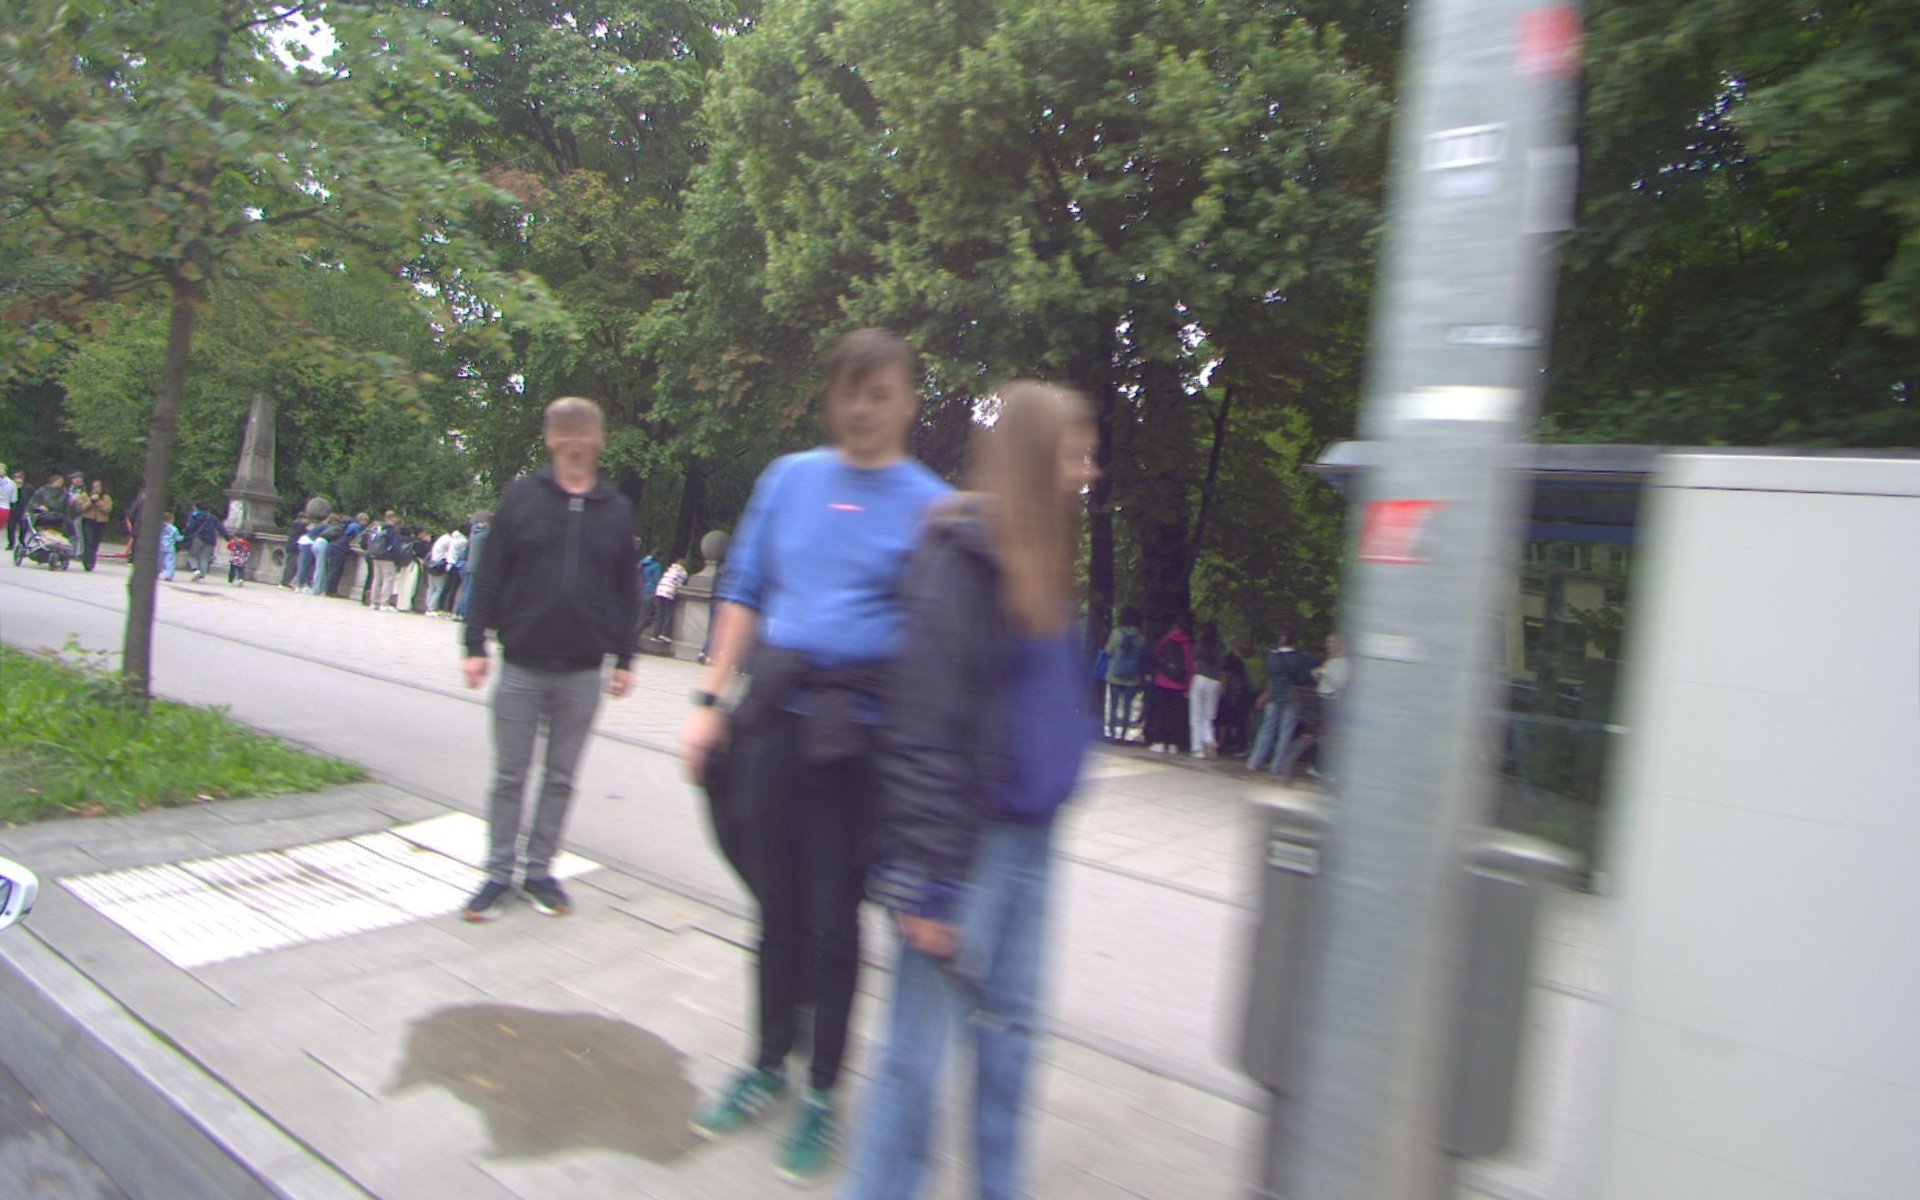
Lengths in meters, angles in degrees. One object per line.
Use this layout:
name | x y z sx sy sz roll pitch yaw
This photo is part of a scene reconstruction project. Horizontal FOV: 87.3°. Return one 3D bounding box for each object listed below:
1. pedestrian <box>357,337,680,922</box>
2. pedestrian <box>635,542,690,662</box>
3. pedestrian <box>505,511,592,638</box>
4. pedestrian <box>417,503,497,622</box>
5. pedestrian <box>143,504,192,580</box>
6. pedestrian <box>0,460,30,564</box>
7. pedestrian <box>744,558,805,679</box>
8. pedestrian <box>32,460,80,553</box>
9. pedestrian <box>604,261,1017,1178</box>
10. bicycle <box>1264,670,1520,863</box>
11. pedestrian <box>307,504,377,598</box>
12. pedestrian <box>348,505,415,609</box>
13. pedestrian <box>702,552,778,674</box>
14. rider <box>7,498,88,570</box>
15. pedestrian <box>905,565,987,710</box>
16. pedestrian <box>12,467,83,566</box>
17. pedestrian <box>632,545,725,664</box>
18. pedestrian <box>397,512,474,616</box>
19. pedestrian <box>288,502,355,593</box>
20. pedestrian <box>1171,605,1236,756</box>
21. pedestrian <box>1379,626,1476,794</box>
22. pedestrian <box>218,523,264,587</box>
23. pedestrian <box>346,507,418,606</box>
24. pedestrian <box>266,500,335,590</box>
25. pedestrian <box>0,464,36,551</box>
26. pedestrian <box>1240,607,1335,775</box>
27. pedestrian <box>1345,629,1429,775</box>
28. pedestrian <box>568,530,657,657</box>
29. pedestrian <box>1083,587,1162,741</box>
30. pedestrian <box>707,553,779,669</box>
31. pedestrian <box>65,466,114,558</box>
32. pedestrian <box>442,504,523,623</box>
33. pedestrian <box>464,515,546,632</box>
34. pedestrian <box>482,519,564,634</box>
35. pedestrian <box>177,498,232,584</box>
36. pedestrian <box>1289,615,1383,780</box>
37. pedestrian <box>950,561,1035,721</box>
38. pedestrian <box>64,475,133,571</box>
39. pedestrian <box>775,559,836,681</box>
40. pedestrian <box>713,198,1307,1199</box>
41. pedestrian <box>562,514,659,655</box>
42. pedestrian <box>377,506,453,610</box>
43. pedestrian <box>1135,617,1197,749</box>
pedestrian | -1.573 0.138 3.665 0.795 1.903 0.541 7 0 -22
pedestrian | -4.454 0.038 15.059 0.435 1.724 0.421 7 0 32
pedestrian | -6.466 -0.394 15.835 0.717 1.874 0.813 7 0 34
pedestrian | -8.791 -0.655 17.603 0.717 1.939 0.813 7 0 34
pedestrian | -14.946 -1.091 18.965 0.638 1.342 0.458 7 0 37
pedestrian | -16.498 -1.526 17.120 0.638 1.711 0.726 7 0 37
pedestrian | -2.445 0.251 13.272 0.435 1.525 0.421 7 0 34
pedestrian | -19.909 -2.056 22.164 0.607 1.937 0.685 7 0 -42
pedestrian | -0.405 0.270 2.441 0.630 1.830 0.707 7 0 -22
bicycle | 3.098 1.158 7.289 1.550 1.073 0.393 7 0 32
pedestrian | -12.126 -0.961 19.743 0.717 1.712 0.812 7 1 34
pedestrian | -10.137 -0.750 17.635 0.717 1.711 0.592 7 0 34
pedestrian | -2.927 0.182 13.426 0.524 1.525 0.637 7 0 34
rider | -16.299 -1.179 17.966 1.225 1.125 0.765 7 -1 37
pedestrian | -0.161 0.460 12.116 0.524 1.646 0.637 7 0 34
pedestrian | -16.922 -1.543 18.655 0.638 1.711 0.726 7 0 37
pedestrian | -3.937 0.069 14.093 0.717 1.525 0.813 7 0 34
pedestrian | -9.398 -0.639 18.040 0.717 1.711 0.813 7 0 34
pedestrian | -12.789 -1.039 20.143 0.717 1.712 0.812 7 2 34
pedestrian | 2.906 0.960 11.984 0.435 1.724 0.421 7 0 34
pedestrian | 5.257 1.231 11.328 0.631 1.789 0.529 7 0 -27
pedestrian | -14.074 -0.884 19.691 0.638 1.167 0.458 7 0 37
pedestrian | -10.745 -0.803 18.703 0.717 1.712 0.812 7 2 34
pedestrian | -13.568 -1.129 20.716 0.717 1.711 0.813 7 0 34
pedestrian | -21.811 -2.128 23.160 0.607 1.895 0.685 7 0 -42
pedestrian | 3.689 1.020 11.334 0.631 1.789 0.529 7 0 -27
pedestrian | 5.518 1.312 13.014 0.631 1.789 0.529 7 0 -27
pedestrian | -5.253 -0.092 15.208 0.717 1.789 0.813 7 0 34
pedestrian | 1.983 0.786 12.279 0.524 1.789 0.636 7 0 34
pedestrian | -3.040 0.160 14.105 0.524 1.525 0.637 7 0 34
pedestrian | -18.945 -1.910 21.898 0.607 1.895 0.685 7 0 -42
pedestrian | -8.152 -0.616 17.190 0.717 1.897 0.813 7 0 34
pedestrian | -7.574 -0.428 16.758 0.717 1.811 0.813 7 0 34
pedestrian | -7.060 -0.372 16.252 0.663 1.711 0.813 7 0 34
pedestrian | -14.518 -1.126 19.326 0.638 1.546 0.549 7 0 37
pedestrian | 4.322 1.112 11.568 0.631 1.789 0.529 7 0 -27
pedestrian | 0.387 0.489 11.766 0.524 1.789 0.636 7 0 34
pedestrian | -16.449 -1.464 19.207 0.638 1.711 0.726 7 0 37
pedestrian | -2.014 0.263 13.130 0.435 1.525 0.421 7 0 34
pedestrian | 0.119 0.366 1.829 0.628 1.830 0.709 7 0 32
pedestrian | -4.893 -0.209 14.091 0.717 1.851 0.813 7 0 34
pedestrian | -9.985 -0.767 18.433 0.717 1.760 0.813 7 0 34
pedestrian | 2.495 0.997 12.175 0.435 1.525 0.421 7 0 34
